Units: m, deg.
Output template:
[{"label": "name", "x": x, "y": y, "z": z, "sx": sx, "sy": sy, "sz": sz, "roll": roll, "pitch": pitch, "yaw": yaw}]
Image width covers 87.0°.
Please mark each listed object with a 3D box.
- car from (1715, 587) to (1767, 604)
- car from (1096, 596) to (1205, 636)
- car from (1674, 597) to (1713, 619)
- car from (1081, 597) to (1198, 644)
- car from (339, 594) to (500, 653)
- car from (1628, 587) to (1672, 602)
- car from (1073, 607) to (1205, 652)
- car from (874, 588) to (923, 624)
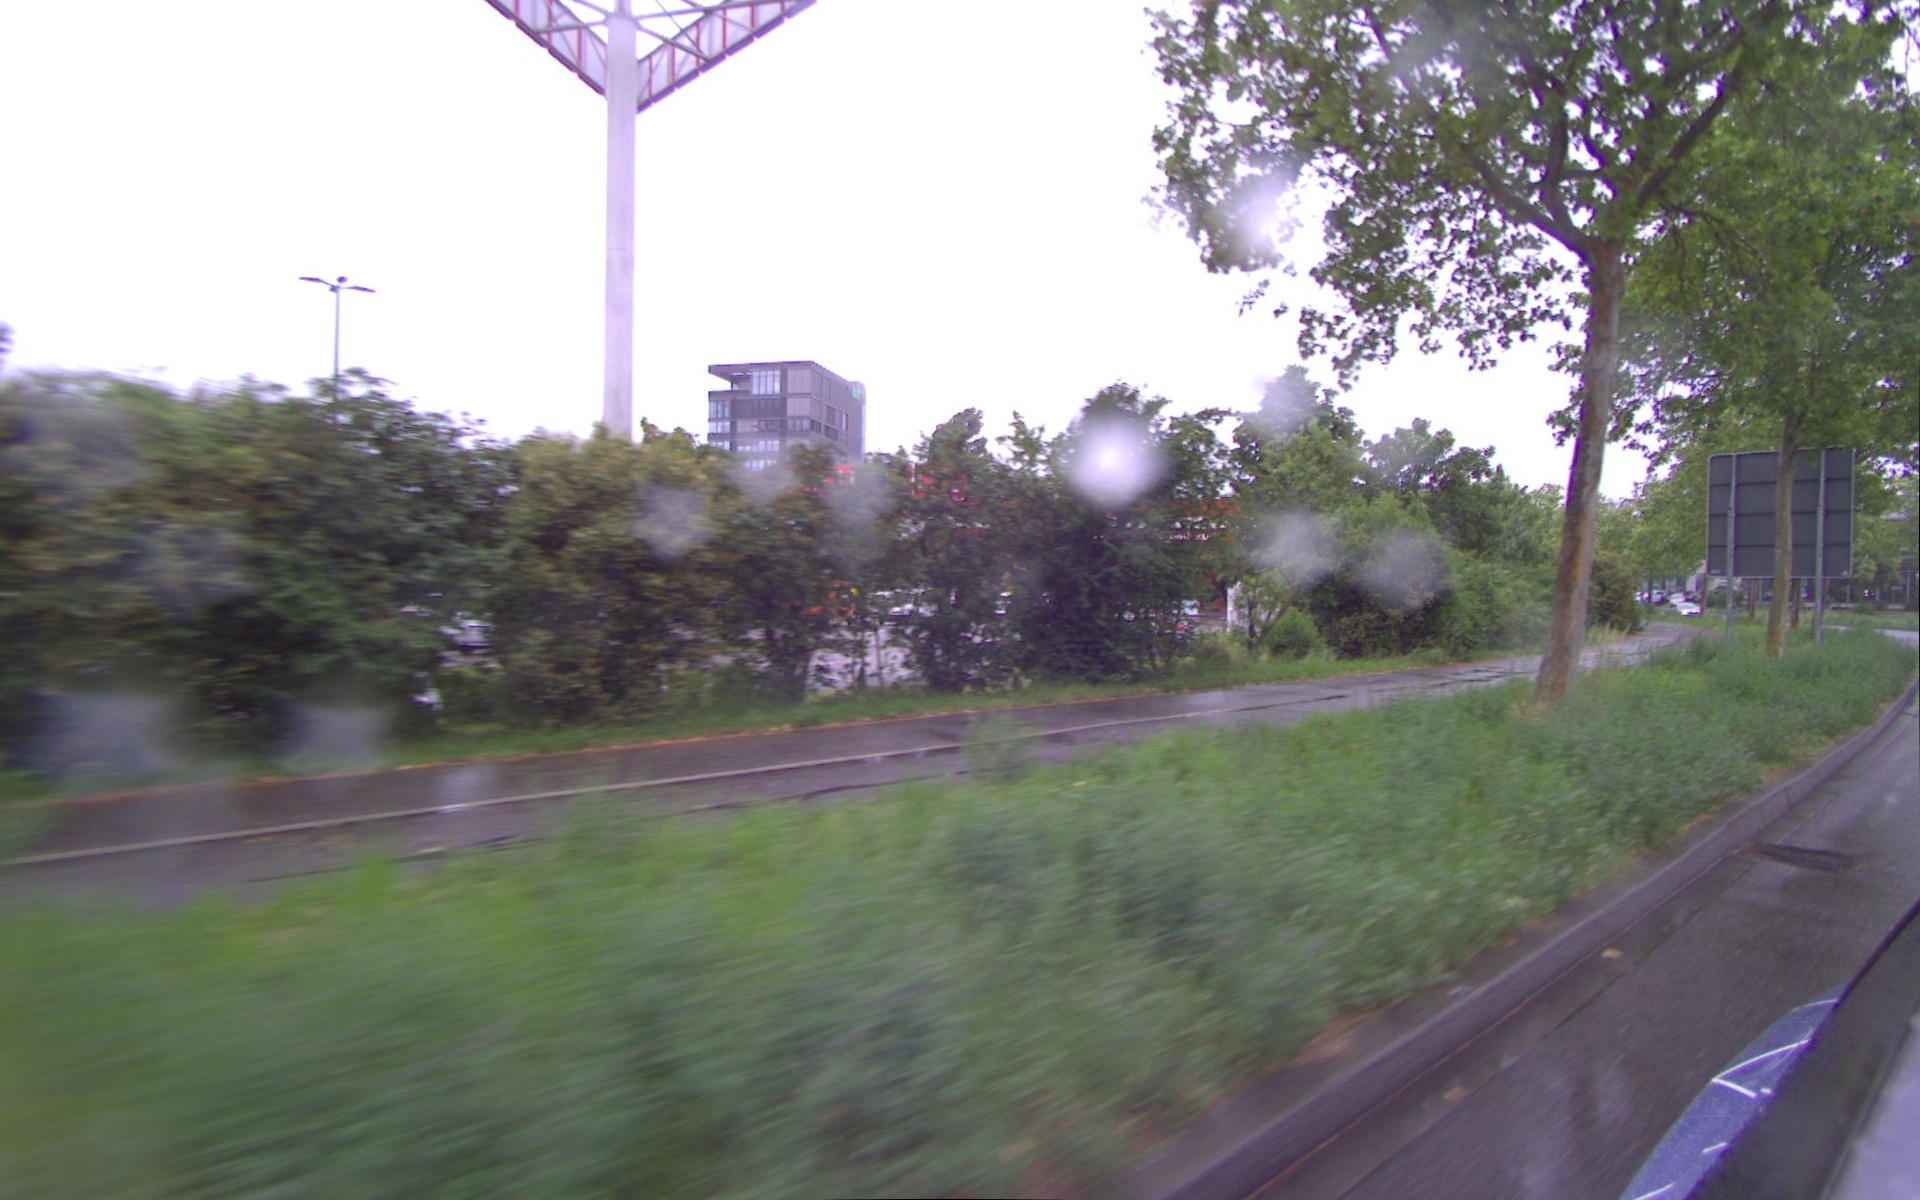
[{"label": "car", "x": 81.435, "y": -0.460, "z": 105.542, "sx": 3.923, "sy": 1.681, "sz": 1.865, "roll": -2, "pitch": 0, "yaw": -1}, {"label": "car", "x": 7.700, "y": 0.626, "z": 40.828, "sx": 4.232, "sy": 1.538, "sz": 1.747, "roll": 0, "pitch": 0, "yaw": 15}, {"label": "car", "x": 59.884, "y": 0.643, "z": 82.727, "sx": 1.981, "sy": 1.672, "sz": 3.962, "roll": 0, "pitch": 0, "yaw": 27}, {"label": "car", "x": 6.770, "y": 0.729, "z": 38.059, "sx": 4.232, "sy": 1.695, "sz": 1.747, "roll": 0, "pitch": 0, "yaw": 15}, {"label": "car", "x": -16.070, "y": 0.654, "z": 30.364, "sx": 1.910, "sy": 1.655, "sz": 4.321, "roll": 0, "pitch": 0, "yaw": 13}, {"label": "car", "x": 82.539, "y": -0.634, "z": 121.122, "sx": 3.923, "sy": 1.681, "sz": 1.865, "roll": -2, "pitch": 0, "yaw": -1}, {"label": "car", "x": 5.932, "y": 0.955, "z": 33.624, "sx": 4.227, "sy": 1.388, "sz": 1.749, "roll": 0, "pitch": 0, "yaw": 12}, {"label": "car", "x": -3.052, "y": 0.282, "z": 50.827, "sx": 1.726, "sy": 1.766, "sz": 3.610, "roll": 0, "pitch": 0, "yaw": 9}]
